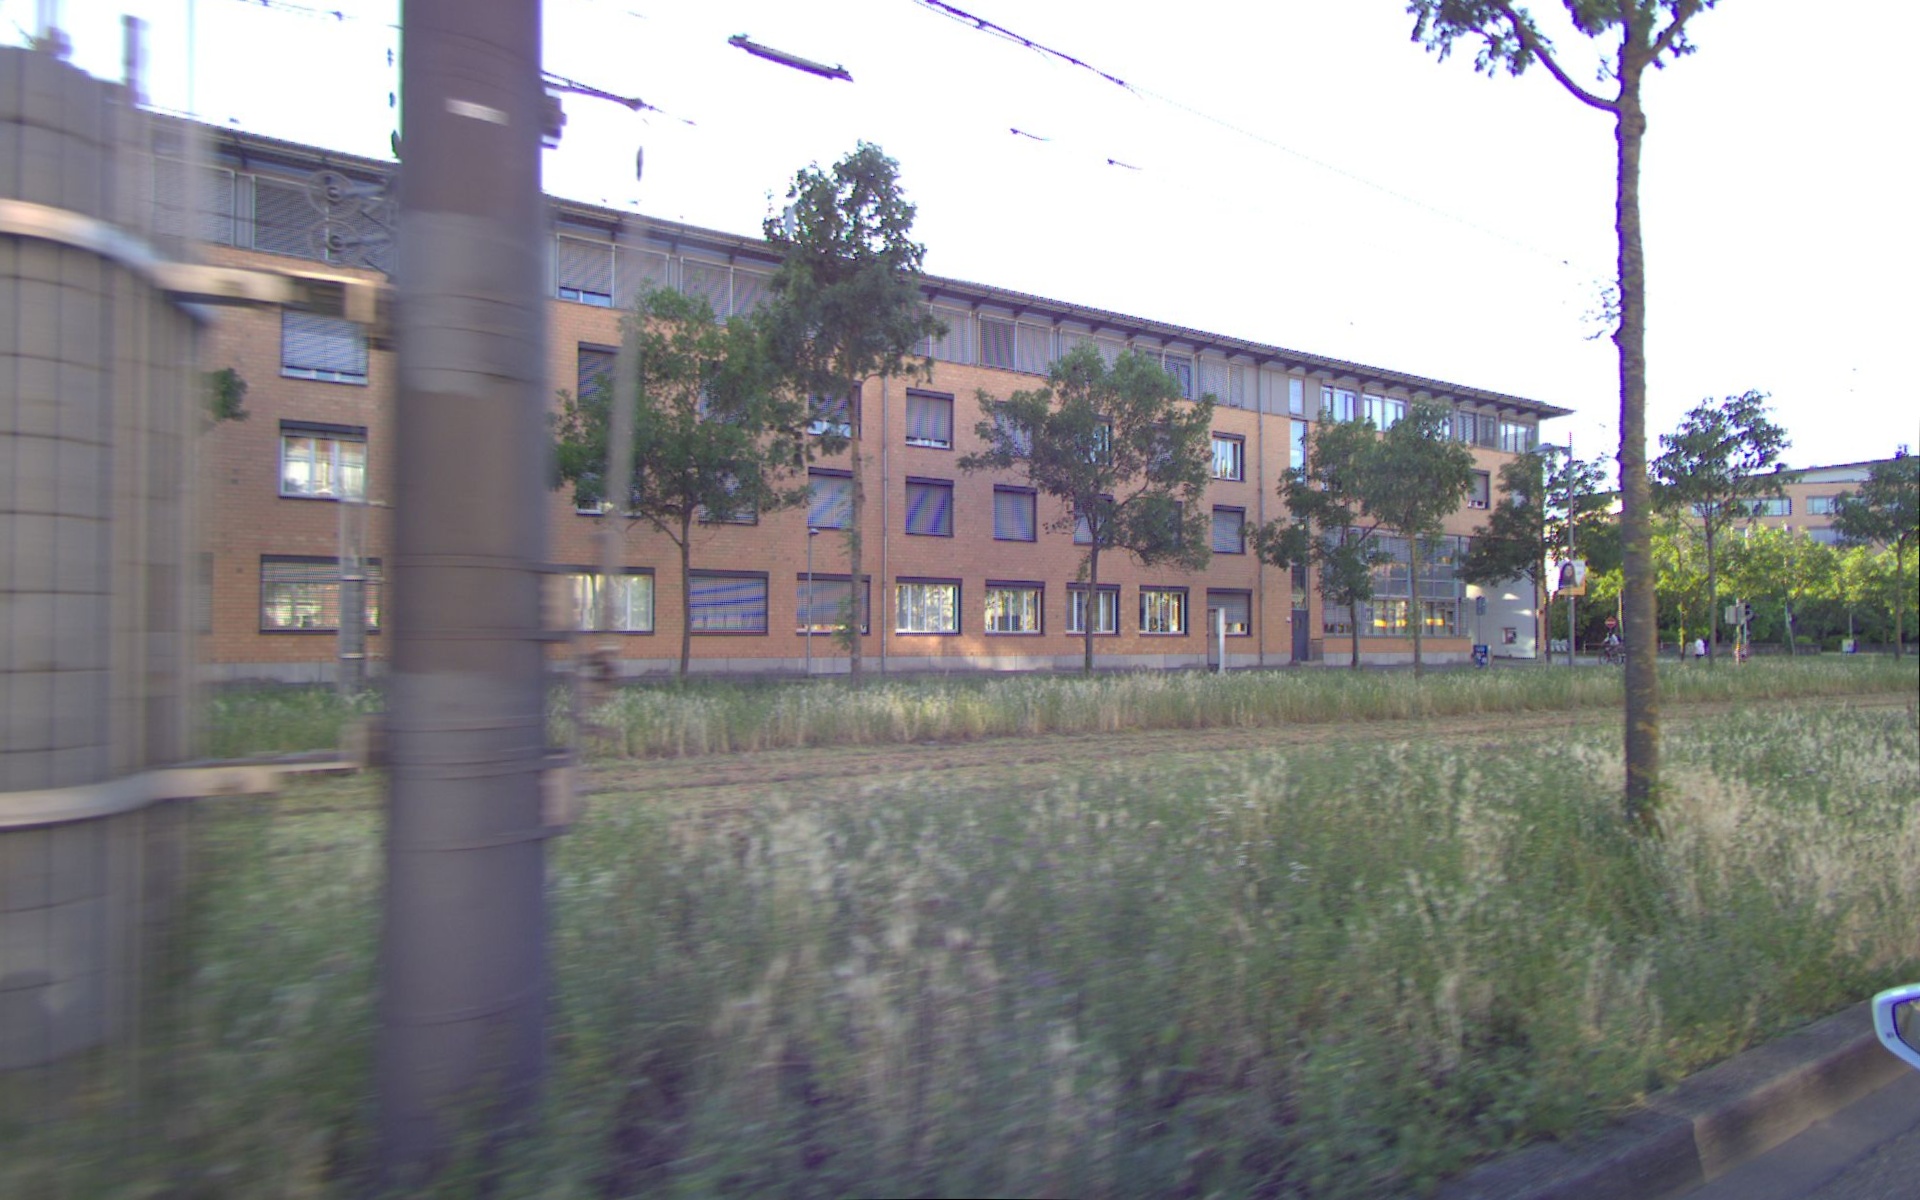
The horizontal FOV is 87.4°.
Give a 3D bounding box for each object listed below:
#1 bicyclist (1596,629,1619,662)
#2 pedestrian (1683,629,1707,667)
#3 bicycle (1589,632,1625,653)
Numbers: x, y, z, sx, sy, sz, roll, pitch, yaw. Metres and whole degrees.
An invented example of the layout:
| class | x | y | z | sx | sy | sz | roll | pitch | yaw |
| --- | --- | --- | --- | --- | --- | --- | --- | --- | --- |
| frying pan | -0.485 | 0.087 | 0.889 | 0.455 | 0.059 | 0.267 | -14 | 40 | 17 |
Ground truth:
| class | x | y | z | sx | sy | sz | roll | pitch | yaw |
| --- | --- | --- | --- | --- | --- | --- | --- | --- | --- |
| bicyclist | 33.751 | 2.371 | 52.364 | 0.815 | 1.696 | 0.692 | 1 | -2 | -29 |
| pedestrian | 33.864 | 2.212 | 46.286 | 0.821 | 1.720 | 0.683 | 1 | -2 | -37 |
| bicycle | 33.720 | 2.191 | 52.360 | 2.068 | 1.066 | 0.706 | 1 | -2 | -30 |
